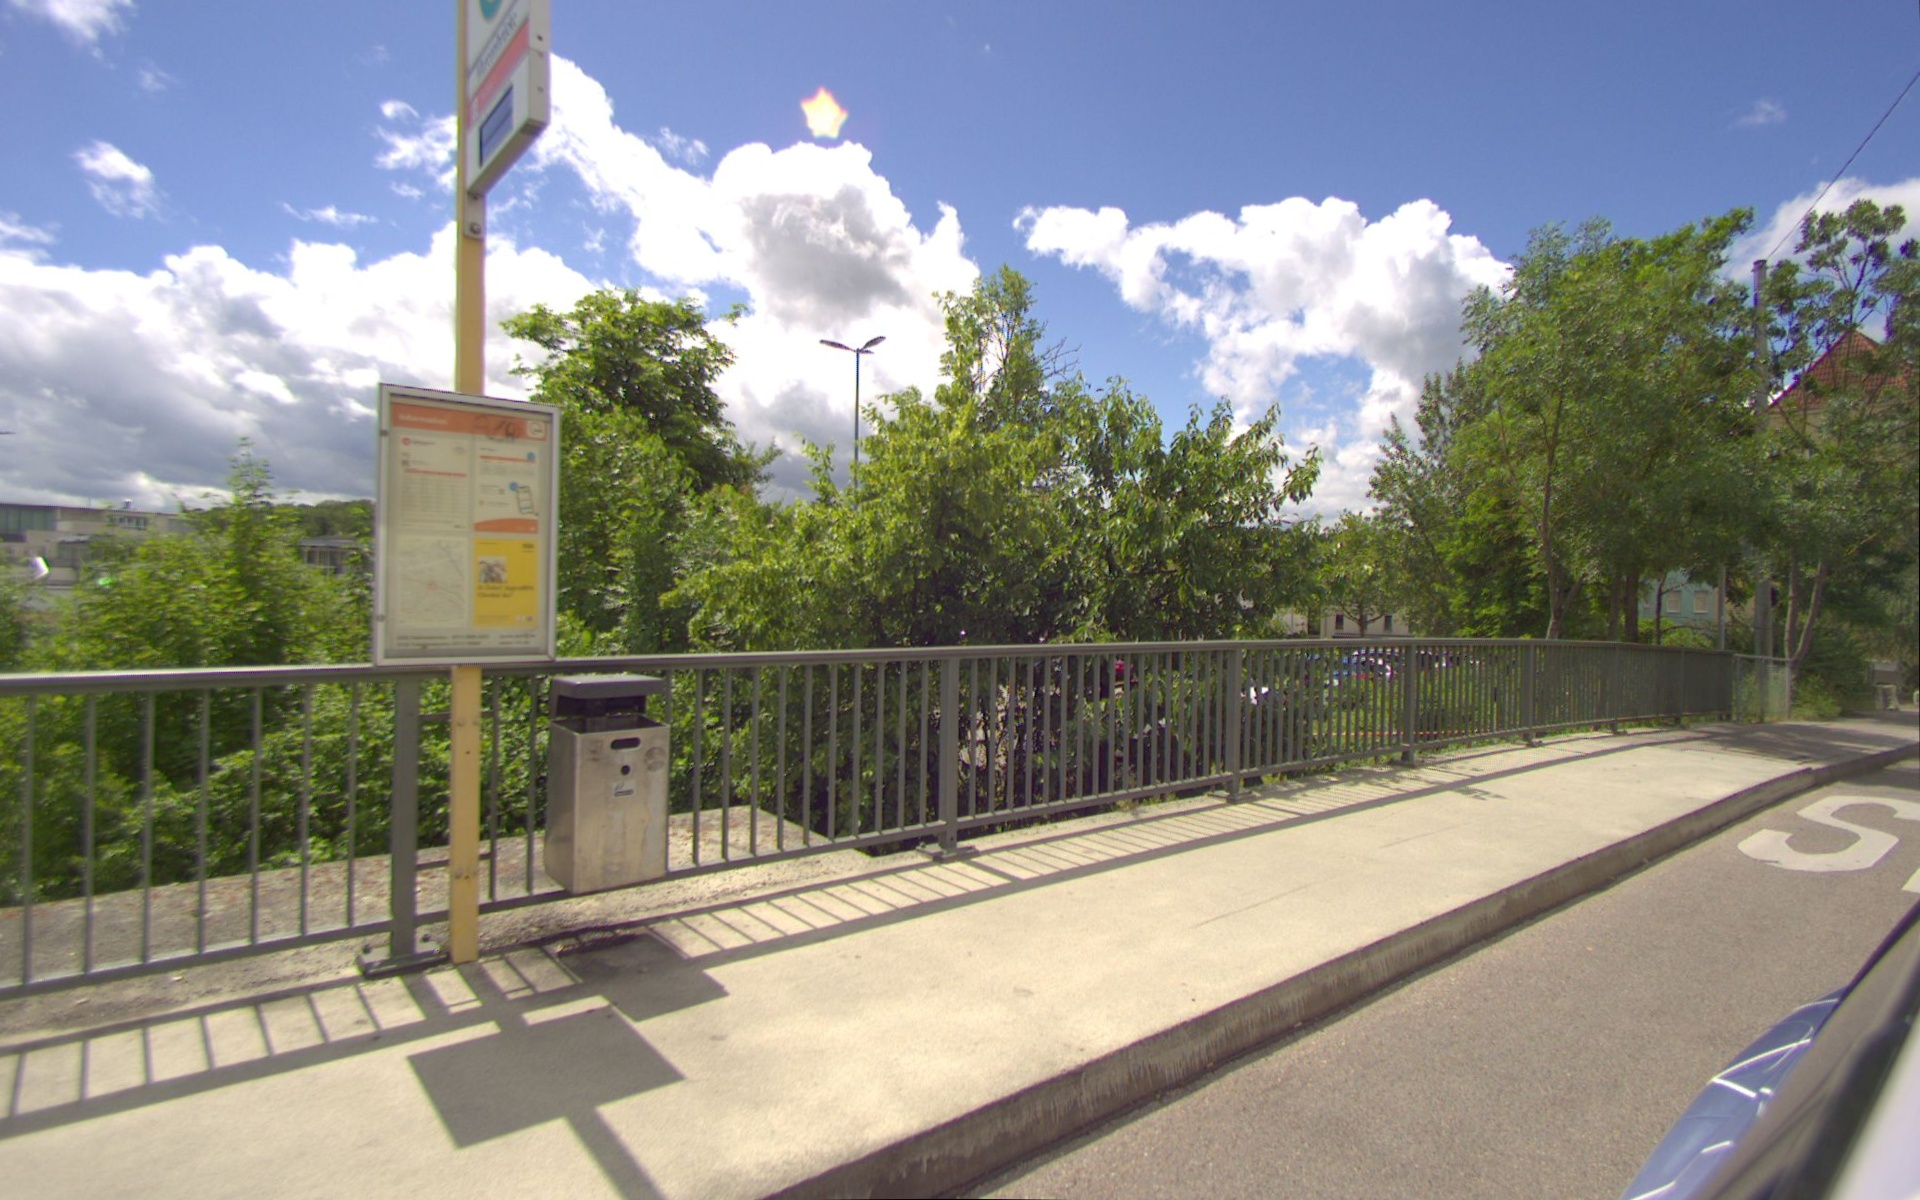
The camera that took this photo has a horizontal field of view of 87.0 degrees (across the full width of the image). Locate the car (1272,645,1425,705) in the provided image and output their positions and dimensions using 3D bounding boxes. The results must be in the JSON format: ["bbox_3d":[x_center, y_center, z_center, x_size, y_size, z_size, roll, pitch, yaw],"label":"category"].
[{"bbox_3d":[12.626,2.384,33.042,4.328,1.691,1.845,0,-2,39],"label":"car"}]

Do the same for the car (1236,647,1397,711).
[{"bbox_3d":[10.930,2.365,31.175,4.328,1.691,1.845,0,-2,39],"label":"car"}]

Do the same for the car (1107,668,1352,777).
[{"bbox_3d":[5.088,2.228,19.174,4.295,1.691,1.859,0,-1,20],"label":"car"}]

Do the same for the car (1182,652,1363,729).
[{"bbox_3d":[8.142,2.289,26.364,4.306,1.691,1.855,0,-1,26],"label":"car"}]

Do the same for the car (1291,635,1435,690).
[{"bbox_3d":[14.016,2.130,35.312,4.328,1.691,1.845,0,-2,39],"label":"car"}]

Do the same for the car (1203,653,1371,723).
[{"bbox_3d":[9.377,2.466,29.124,4.316,1.691,1.850,0,-1,32],"label":"car"}]

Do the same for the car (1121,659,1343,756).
[{"bbox_3d":[5.664,2.161,21.145,4.295,1.691,1.859,0,-1,20],"label":"car"}]

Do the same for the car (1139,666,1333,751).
[{"bbox_3d":[6.584,2.508,24.092,4.298,1.691,1.858,0,-1,22],"label":"car"}]
